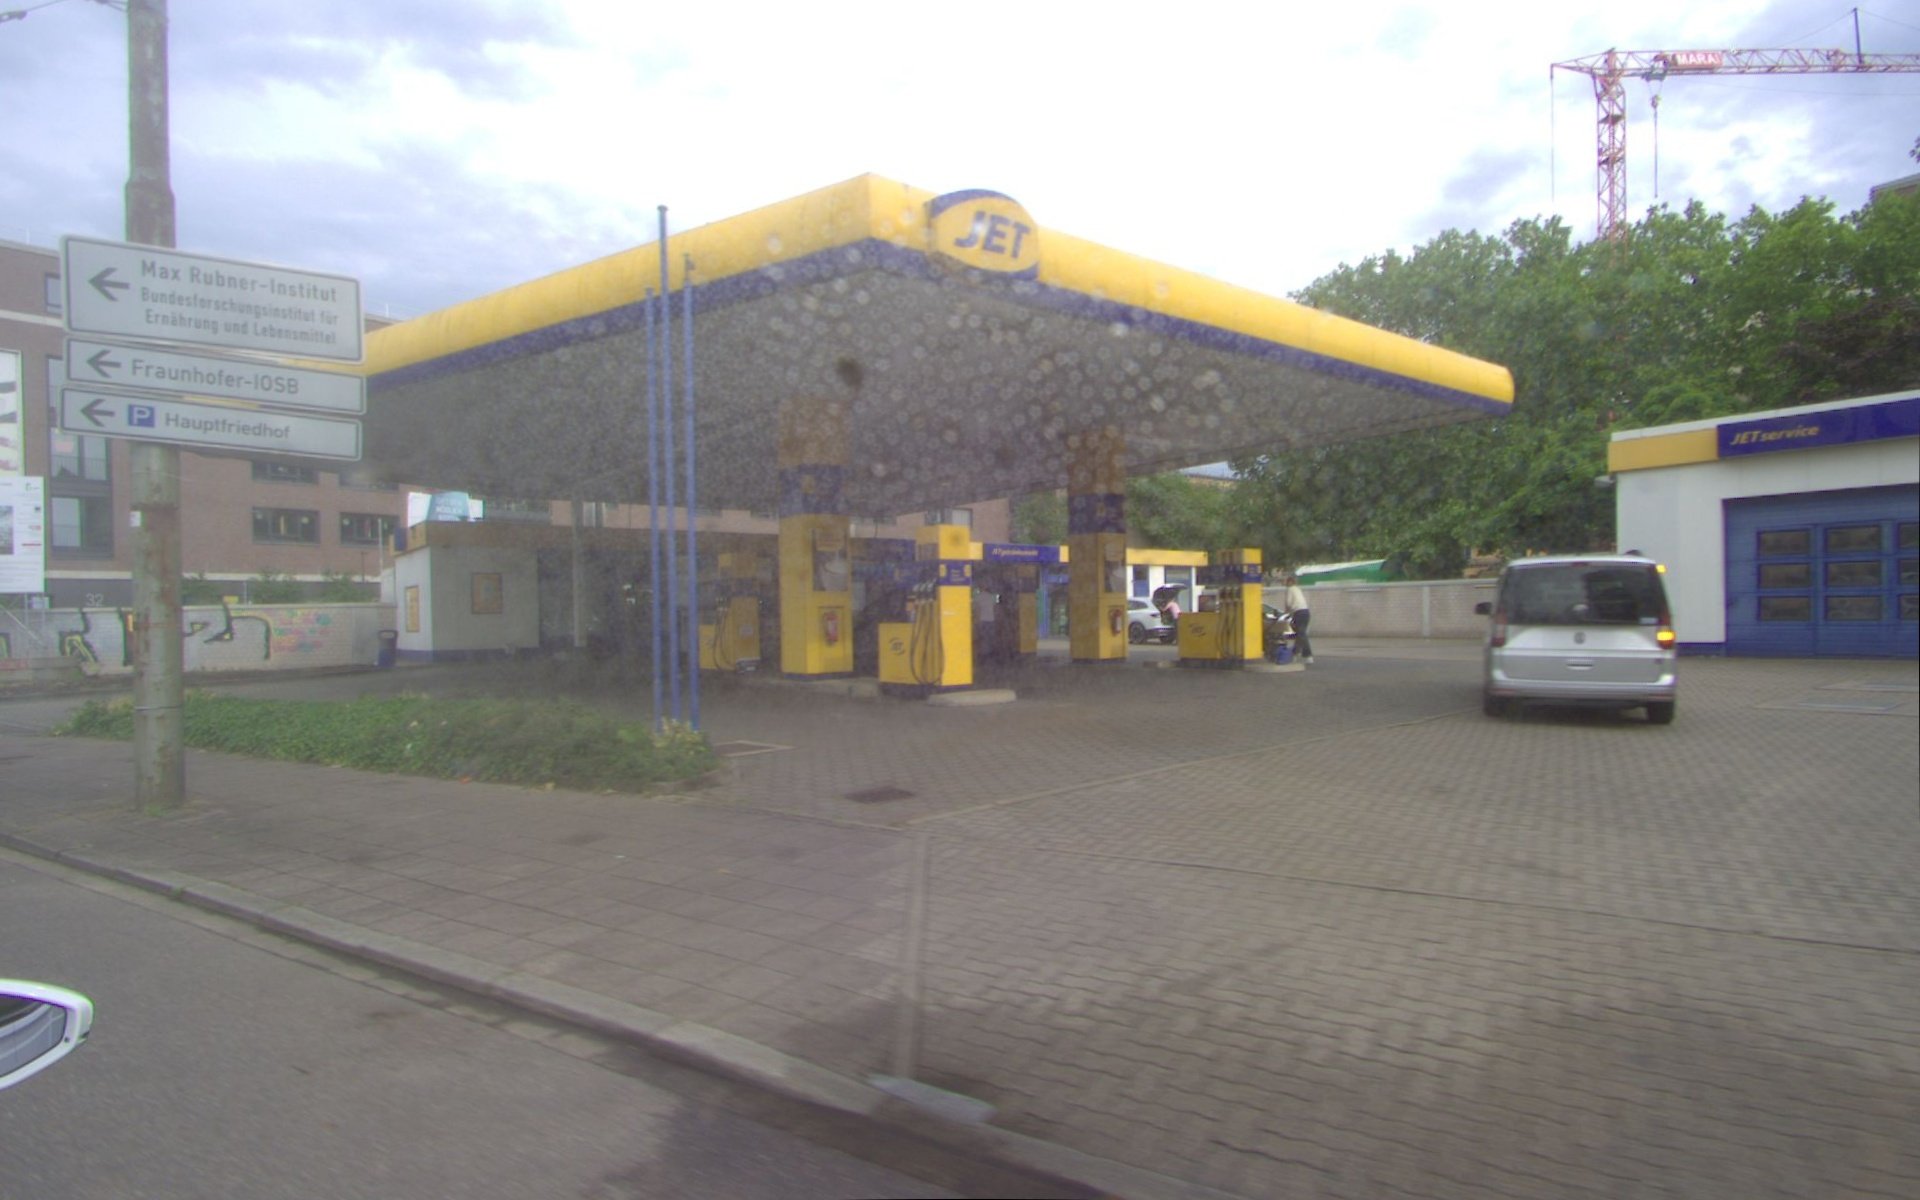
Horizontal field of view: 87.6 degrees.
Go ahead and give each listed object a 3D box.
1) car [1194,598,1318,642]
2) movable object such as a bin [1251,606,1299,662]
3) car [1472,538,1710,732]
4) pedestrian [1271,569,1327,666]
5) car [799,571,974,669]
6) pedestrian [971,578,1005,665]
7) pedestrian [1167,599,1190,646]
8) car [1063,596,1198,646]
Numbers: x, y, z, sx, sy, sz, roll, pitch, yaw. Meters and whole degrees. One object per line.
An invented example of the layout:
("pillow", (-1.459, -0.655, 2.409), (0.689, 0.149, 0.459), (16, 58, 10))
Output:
("car", (11.623, 0.742, 39.577), (1.936, 1.607, 4.390), (0, 0, -38))
("movable object such as a bin", (6.426, 0.686, 20.456), (0.592, 1.080, 0.794), (0, 2, -14))
("car", (7.338, 0.290, 12.104), (1.956, 1.868, 4.509), (-1, 2, 26))
("pedestrian", (6.642, 0.322, 19.662), (0.592, 1.844, 0.968), (0, 2, -14))
("car", (-1.763, 0.468, 22.745), (1.804, 2.014, 4.219), (-2, 0, -40))
("pedestrian", (0.581, 0.452, 21.129), (0.615, 1.810, 0.708), (-1, -1, -5))
("pedestrian", (7.414, 0.751, 33.997), (0.492, 1.564, 0.547), (-1, 2, -34))
("car", (6.005, 0.692, 35.765), (1.919, 1.617, 4.722), (0, 1, -38))
